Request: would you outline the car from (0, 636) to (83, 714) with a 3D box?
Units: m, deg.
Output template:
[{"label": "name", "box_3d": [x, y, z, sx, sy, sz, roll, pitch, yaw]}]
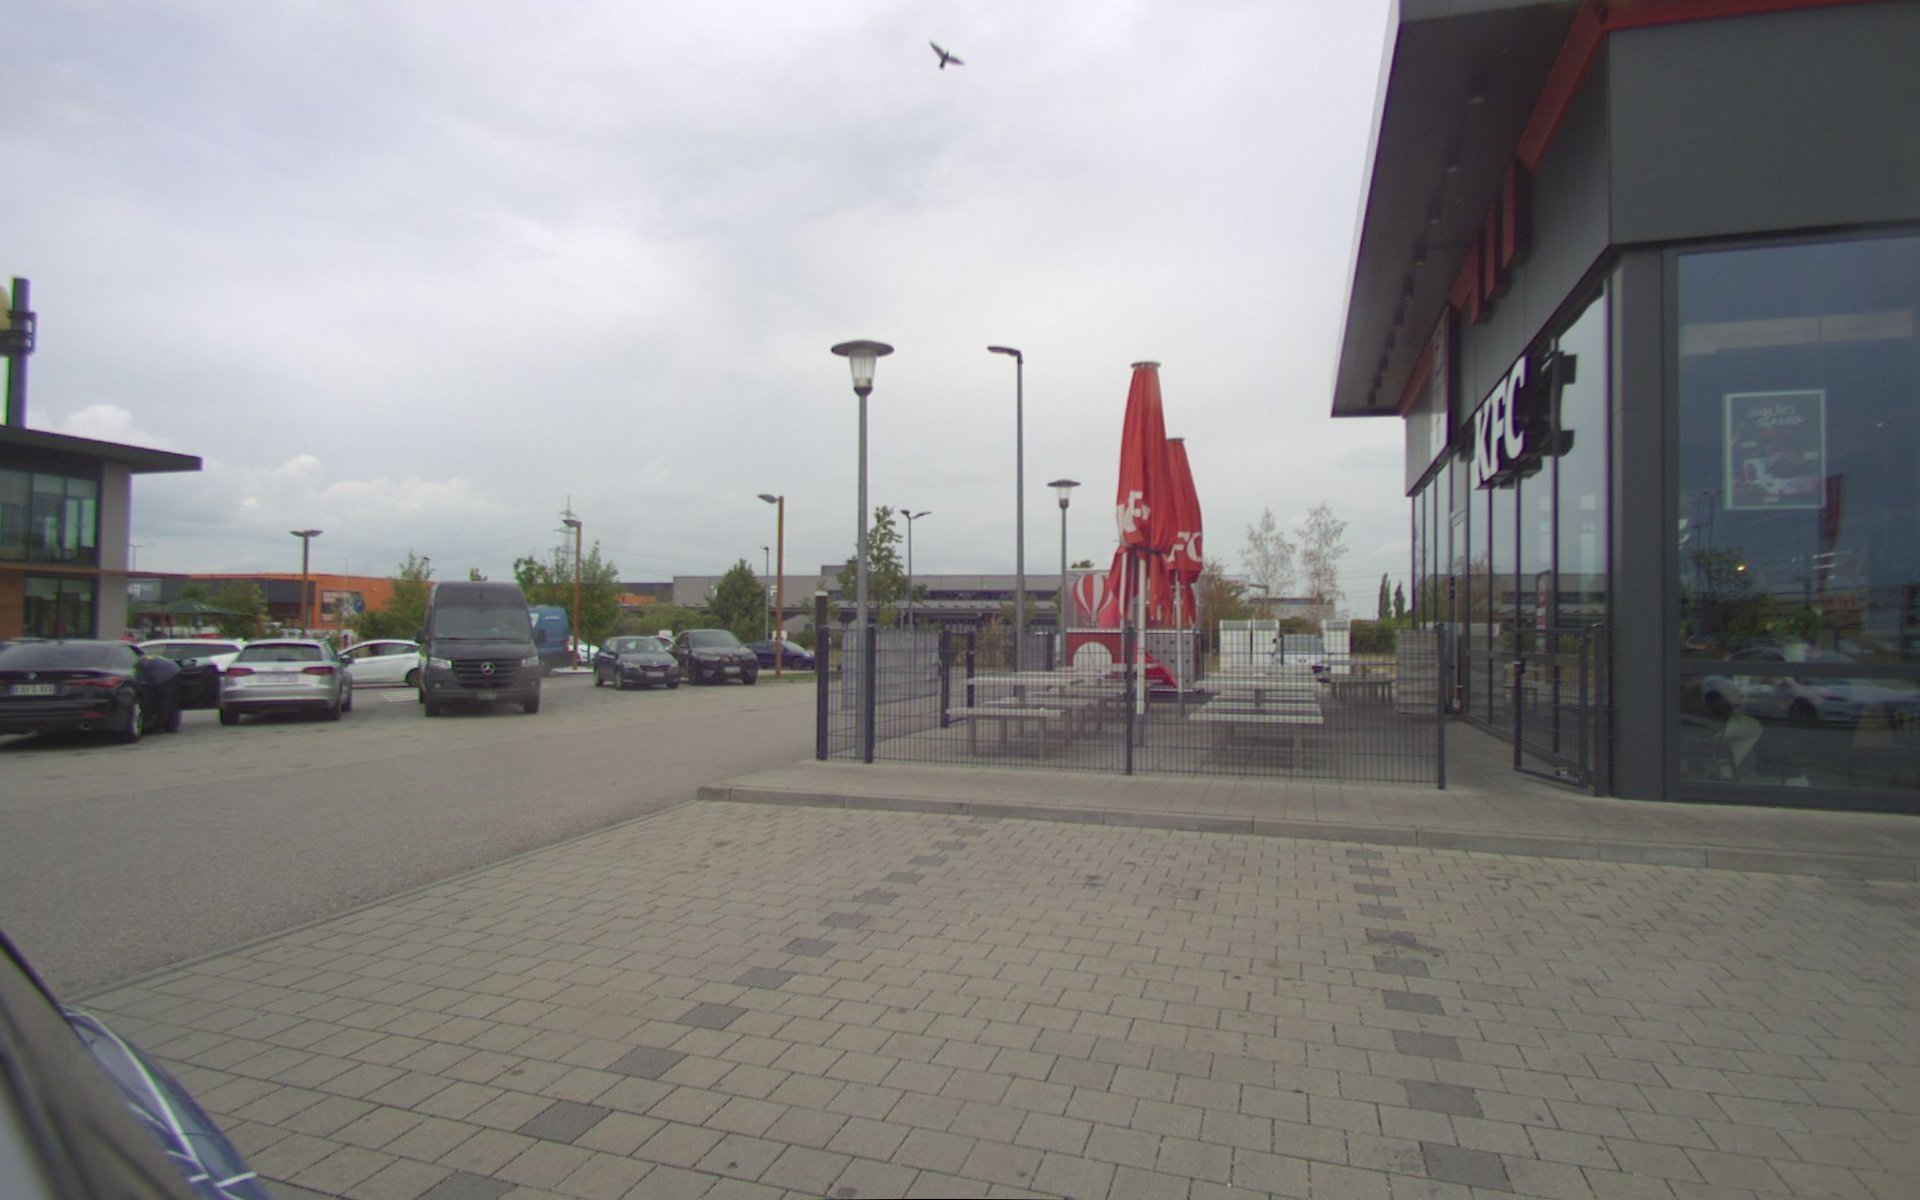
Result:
[{"label": "car", "box_3d": [-20.407, 1.471, 20.241, 3.930, 1.521, 1.775, 3, -4, -26]}]

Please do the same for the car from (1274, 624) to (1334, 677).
[{"label": "car", "box_3d": [10.560, 1.538, 31.238, 1.615, 1.516, 4.144, 0, -3, 18]}]

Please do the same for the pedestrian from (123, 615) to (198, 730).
[{"label": "pedestrian", "box_3d": [-12.192, 1.092, 15.458, 0.736, 1.690, 0.845, 1, -3, -28]}]

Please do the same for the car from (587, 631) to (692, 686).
[{"label": "car", "box_3d": [-9.160, 1.607, 28.735, 1.802, 1.422, 4.010, 1, -2, -34]}]

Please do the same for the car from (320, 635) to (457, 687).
[{"label": "car", "box_3d": [-17.311, 1.824, 30.767, 3.512, 1.465, 1.848, 1, -3, -29]}]

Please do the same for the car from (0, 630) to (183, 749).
[{"label": "car", "box_3d": [-12.801, 1.224, 14.730, 1.658, 1.474, 4.420, 1, -3, -28]}]

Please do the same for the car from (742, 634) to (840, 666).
[{"label": "car", "box_3d": [-8.264, 2.432, 49.401, 4.424, 1.470, 1.821, 0, -2, 21]}]

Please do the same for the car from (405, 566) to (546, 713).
[{"label": "car", "box_3d": [-10.342, 0.810, 21.230, 2.038, 2.573, 7.033, 1, -2, -31]}]

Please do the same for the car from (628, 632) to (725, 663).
[{"label": "car", "box_3d": [-14.535, 2.417, 51.949, 4.440, 1.565, 2.061, -1, -2, 17]}]

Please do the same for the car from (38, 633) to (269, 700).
[{"label": "car", "box_3d": [-18.960, 1.556, 24.050, 4.041, 1.478, 1.785, 1, -5, -31]}]

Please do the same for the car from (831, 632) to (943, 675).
[{"label": "car", "box_3d": [-2.518, 1.857, 34.890, 3.466, 1.387, 1.615, 2, -4, -22]}]

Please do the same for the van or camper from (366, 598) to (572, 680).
[{"label": "van or camper", "box_3d": [-17.378, 1.353, 36.202, 6.459, 2.721, 2.179, 0, -3, -23]}]

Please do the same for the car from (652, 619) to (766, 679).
[{"label": "car", "box_3d": [-7.940, 1.538, 31.686, 1.966, 1.741, 4.910, 2, -4, -32]}]

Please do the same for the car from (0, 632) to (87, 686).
[{"label": "car", "box_3d": [-29.942, 1.855, 32.594, 1.759, 1.498, 4.013, 3, -2, -27]}]

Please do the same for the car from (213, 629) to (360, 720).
[{"label": "car", "box_3d": [-12.119, 1.297, 18.454, 1.658, 1.462, 4.013, 0, -3, -25]}]

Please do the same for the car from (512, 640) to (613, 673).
[{"label": "car", "box_3d": [-21.344, 3.014, 54.319, 4.907, 1.614, 2.060, 0, -2, 20]}]

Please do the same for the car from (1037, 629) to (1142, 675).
[{"label": "car", "box_3d": [5.695, 2.280, 44.368, 4.301, 1.902, 1.934, 0, -4, 18]}]
